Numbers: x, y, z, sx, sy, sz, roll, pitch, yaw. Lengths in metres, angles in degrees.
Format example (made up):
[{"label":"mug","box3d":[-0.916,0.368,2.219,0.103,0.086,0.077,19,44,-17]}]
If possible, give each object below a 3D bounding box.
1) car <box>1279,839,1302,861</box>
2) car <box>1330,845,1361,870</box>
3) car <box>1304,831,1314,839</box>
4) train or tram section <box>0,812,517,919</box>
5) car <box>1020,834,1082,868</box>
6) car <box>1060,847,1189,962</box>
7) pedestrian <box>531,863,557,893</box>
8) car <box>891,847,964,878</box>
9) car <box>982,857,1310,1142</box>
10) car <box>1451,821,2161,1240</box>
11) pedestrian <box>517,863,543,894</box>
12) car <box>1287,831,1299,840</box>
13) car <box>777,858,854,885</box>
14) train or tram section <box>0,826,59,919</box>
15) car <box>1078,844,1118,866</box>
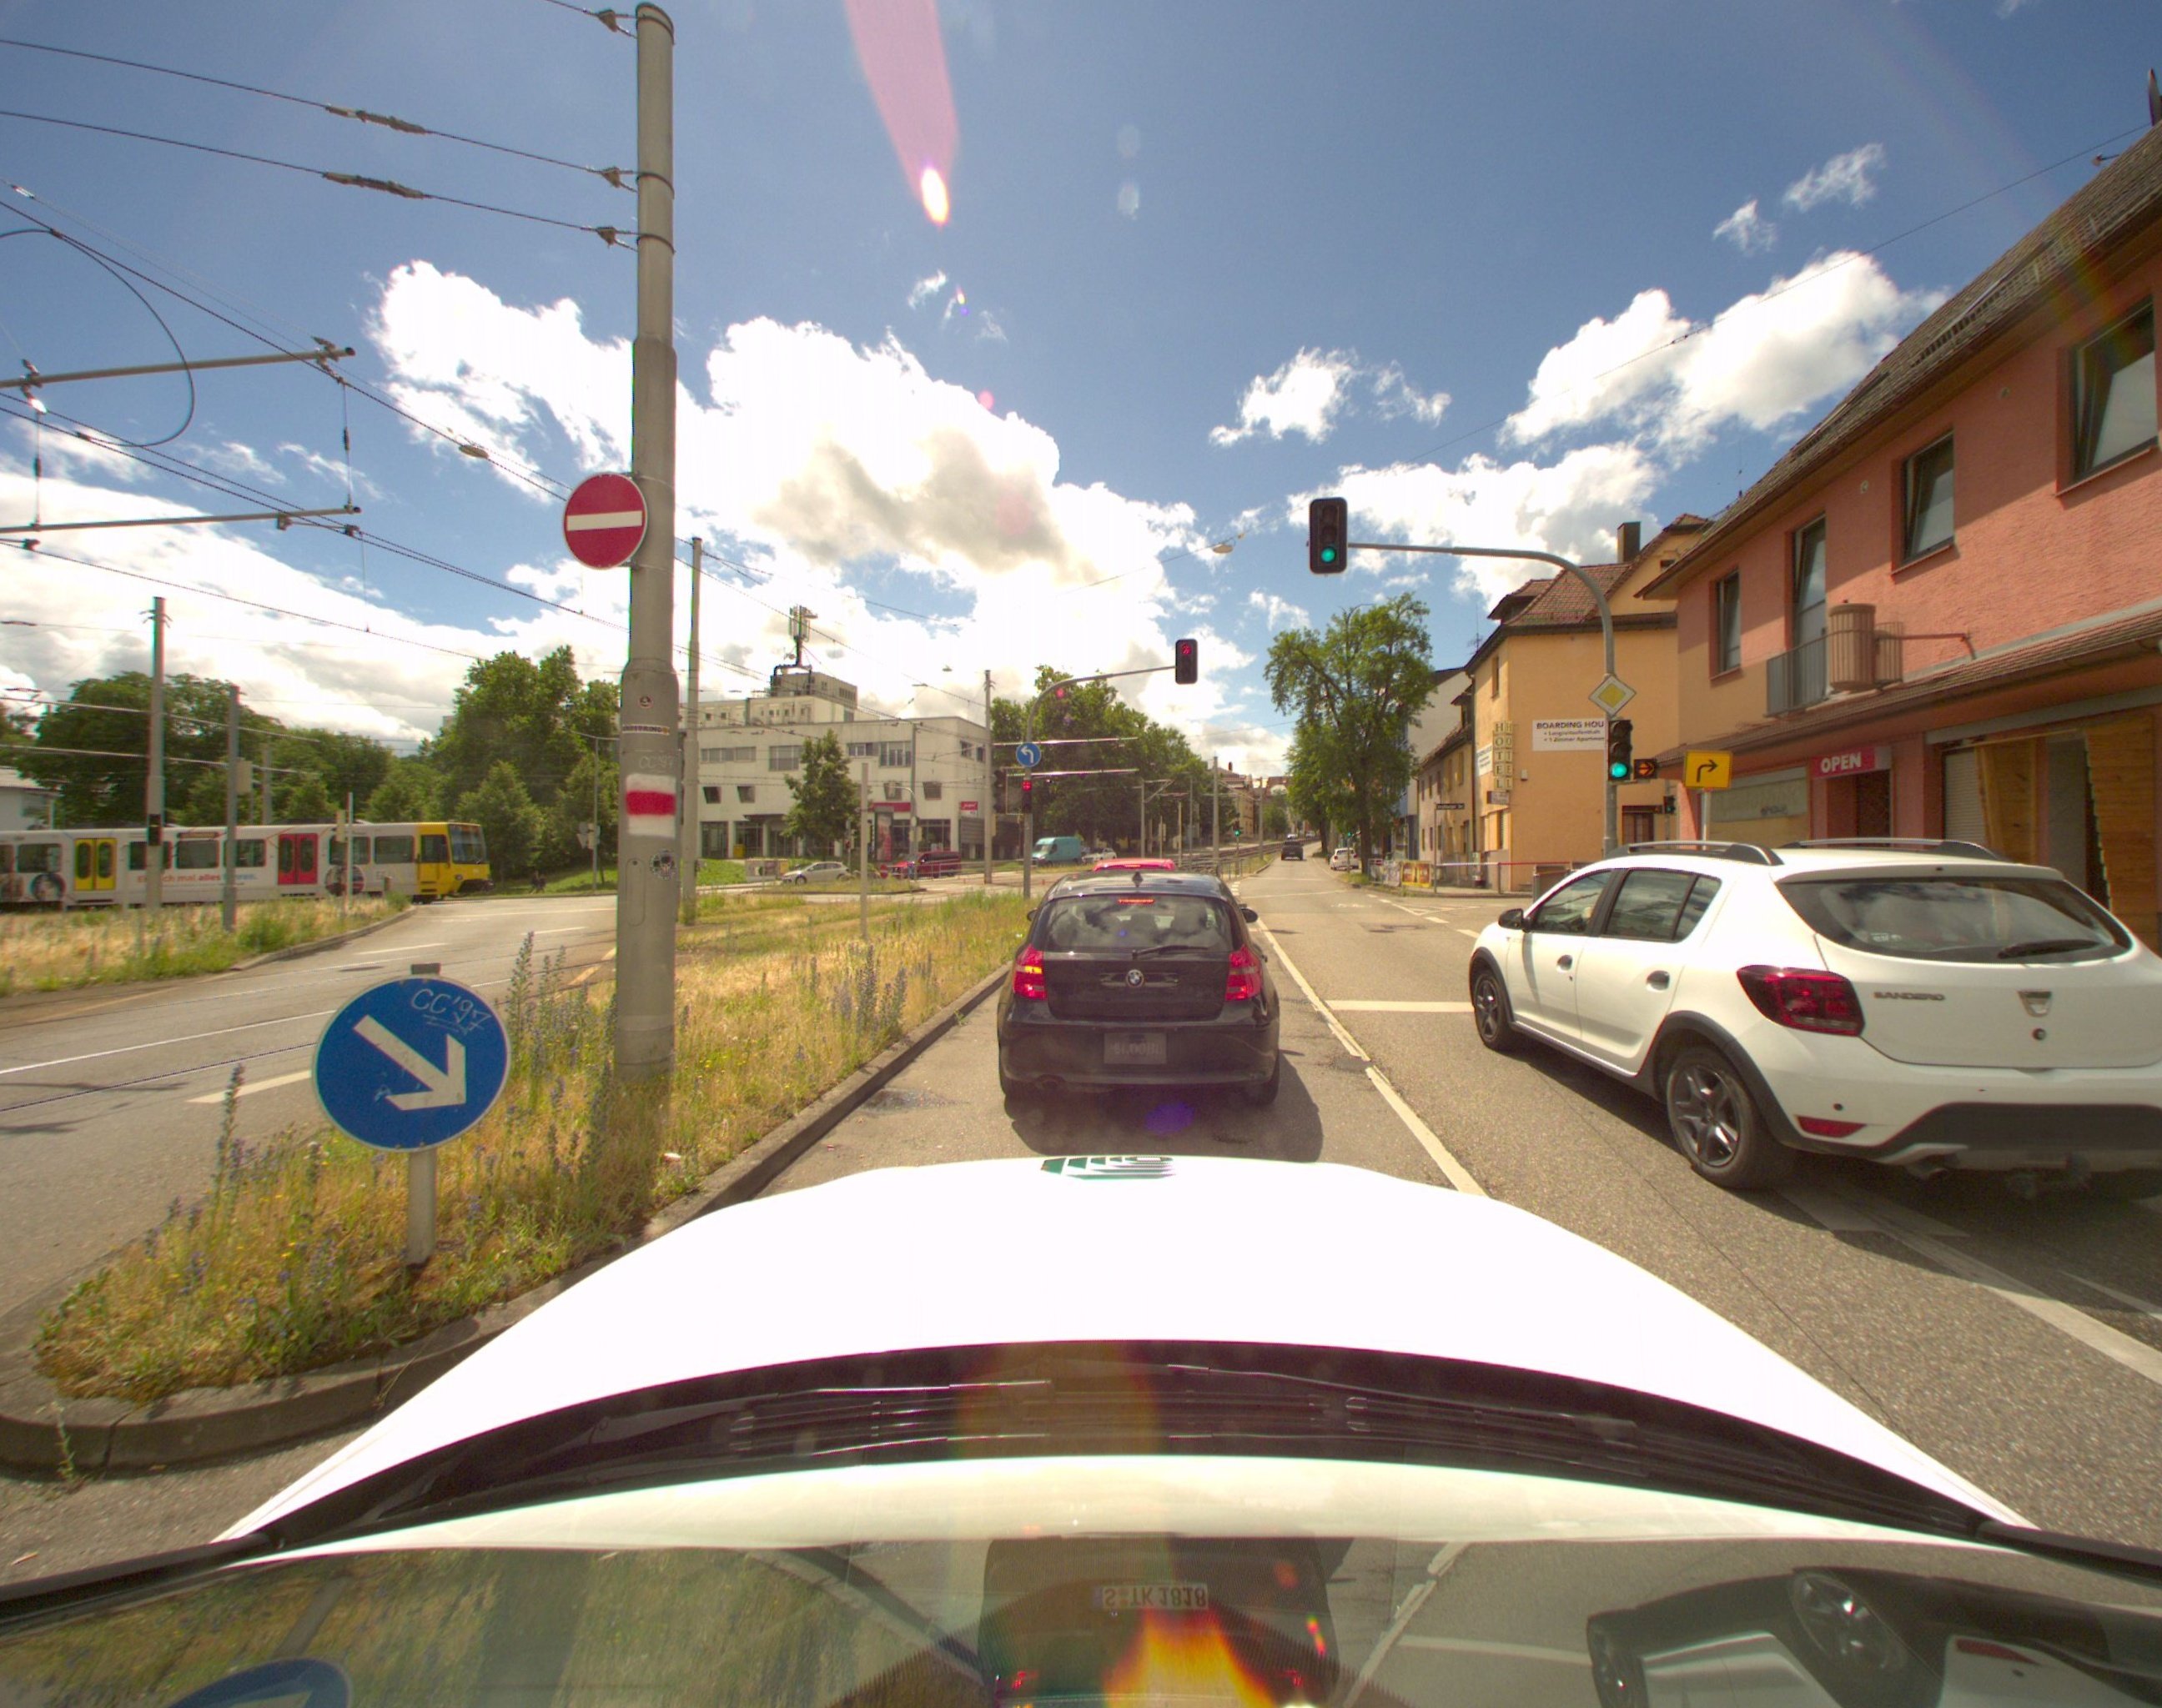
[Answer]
[{"label":"car","box3d":[19.959,-0.344,77.514,1.984,1.887,5.170,-2,-1,15]},{"label":"car","box3d":[18.036,0.224,55.615,1.774,1.596,4.016,-2,-1,15]},{"label":"car","box3d":[57.715,-4.770,206.012,1.976,2.014,4.022,-2,-1,23]},{"label":"train or tram section","box3d":[-35.636,0.476,34.338,19.960,3.814,3.753,-2,-1,-6]},{"label":"car","box3d":[-2.429,-0.231,67.110,2.110,2.654,5.726,-2,-1,33]},{"label":"car","box3d":[0.829,0.696,12.742,1.616,1.473,4.009,-2,-1,8]},{"label":"pedestrian","box3d":[-35.332,1.585,53.618,1.097,1.969,0.865,-2,-1,4]},{"label":"car","box3d":[-10.498,0.571,56.141,1.835,2.009,4.828,-3,-1,40]},{"label":"car","box3d":[0.337,0.796,6.317,1.696,1.452,3.999,-2,-1,0]},{"label":"car","box3d":[3.820,0.666,4.947,1.706,1.550,3.799,-2,0,6]},{"label":"pedestrian","box3d":[-35.630,1.570,52.669,1.097,1.969,0.865,-2,-1,4]},{"label":"car","box3d":[48.676,-4.232,186.909,1.976,2.014,4.022,-2,-1,23]},{"label":"car","box3d":[-16.527,1.093,50.838,4.188,1.585,1.838,-1,-1,-36]},{"label":"train or tram section","box3d":[-54.817,1.077,35.198,20.441,3.879,3.772,-2,-1,10]},{"label":"car","box3d":[1.610,0.105,73.538,1.836,1.928,4.824,-2,-1,24]}]
